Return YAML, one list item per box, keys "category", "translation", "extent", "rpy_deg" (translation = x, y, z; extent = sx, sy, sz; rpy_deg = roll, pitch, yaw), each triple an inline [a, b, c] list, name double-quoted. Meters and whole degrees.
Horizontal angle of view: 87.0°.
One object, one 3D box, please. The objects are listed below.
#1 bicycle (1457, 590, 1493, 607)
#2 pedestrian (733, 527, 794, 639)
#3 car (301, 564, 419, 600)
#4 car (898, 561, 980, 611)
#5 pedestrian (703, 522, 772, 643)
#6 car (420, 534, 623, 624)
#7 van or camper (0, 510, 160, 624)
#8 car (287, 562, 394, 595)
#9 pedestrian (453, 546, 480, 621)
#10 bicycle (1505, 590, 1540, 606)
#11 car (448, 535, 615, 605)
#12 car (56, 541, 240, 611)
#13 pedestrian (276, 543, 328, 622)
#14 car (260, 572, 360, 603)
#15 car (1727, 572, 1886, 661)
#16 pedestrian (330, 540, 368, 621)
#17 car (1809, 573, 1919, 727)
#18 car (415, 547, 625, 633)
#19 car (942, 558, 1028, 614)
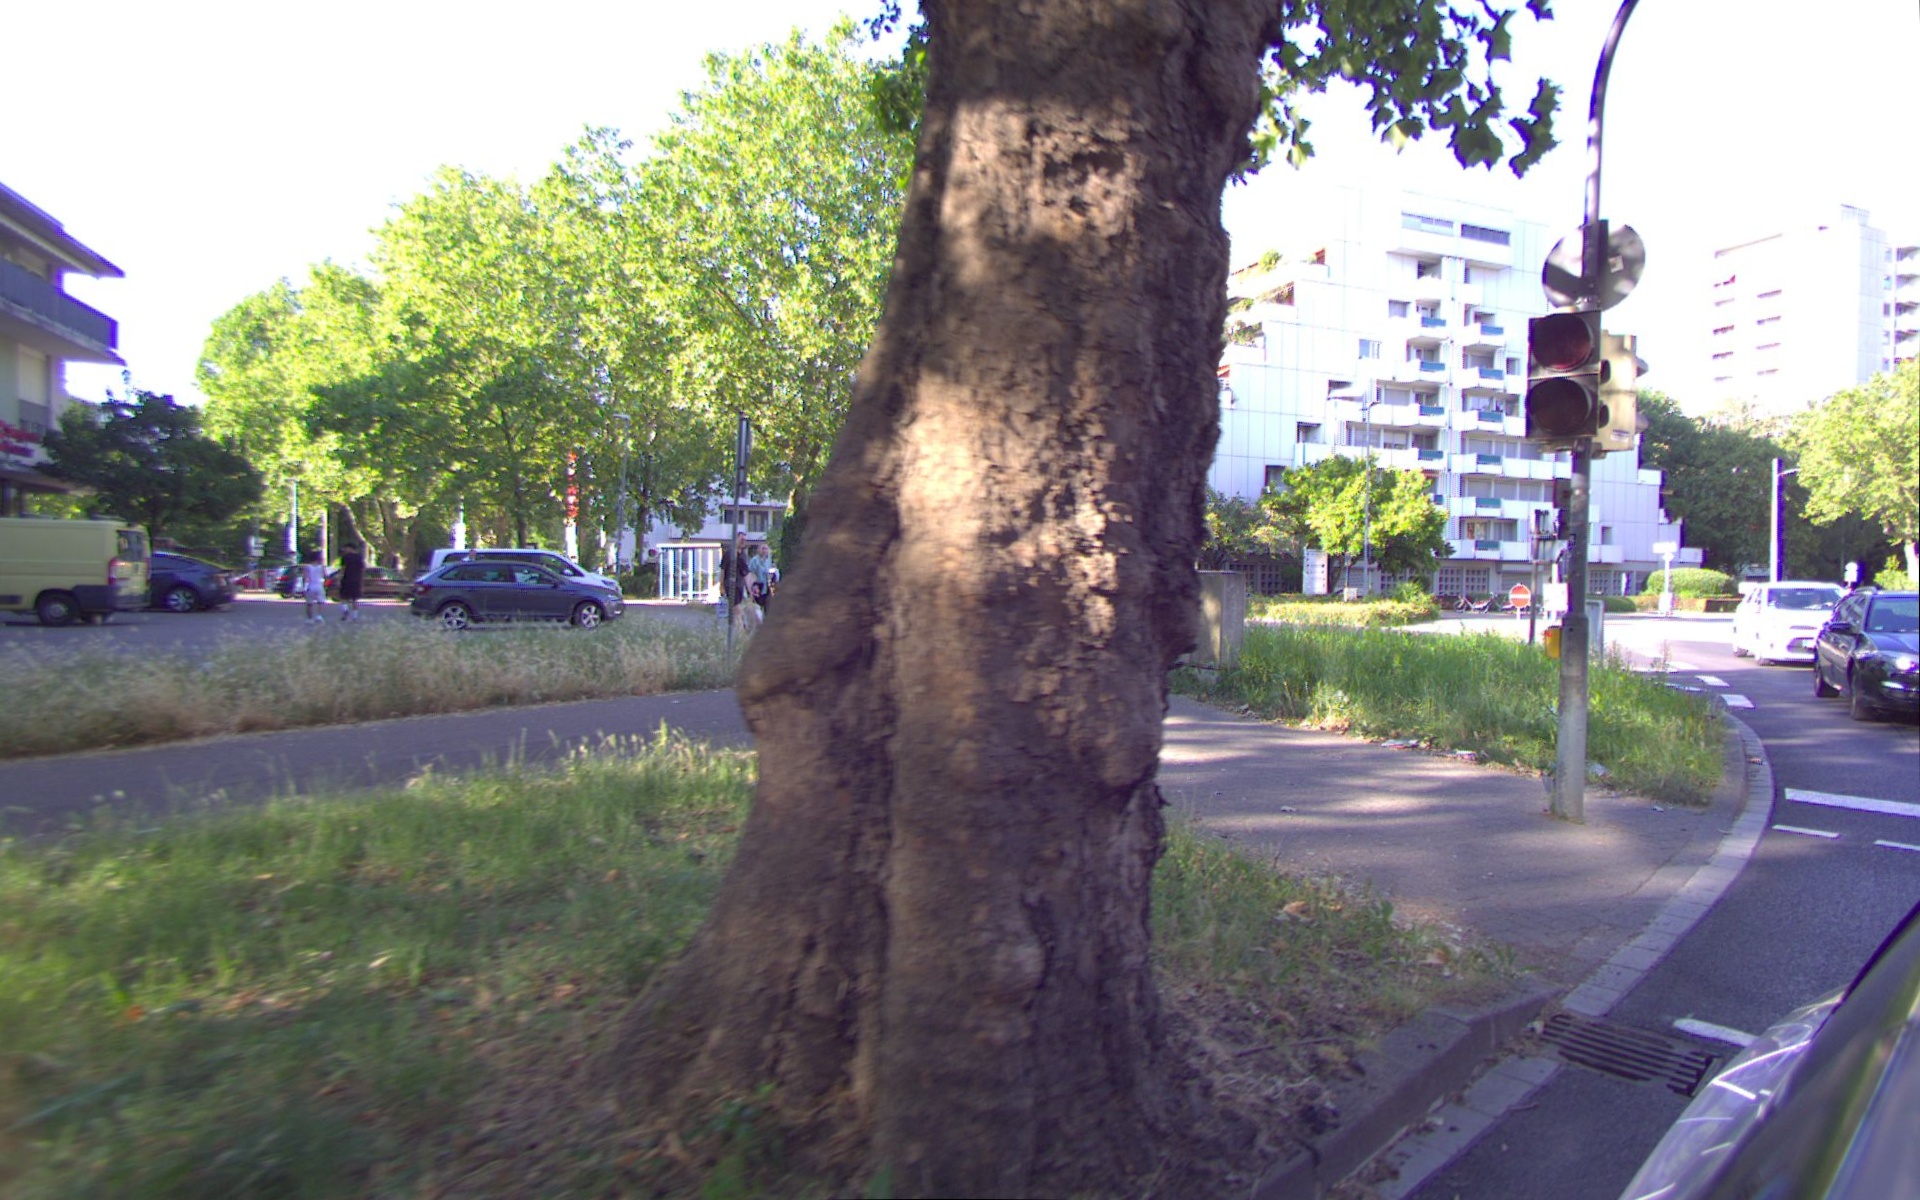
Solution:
- category: "bicycle"
  translation: [27.238, -0.078, 53.513]
  extent: [1.666, 0.848, 0.465]
  rpy_deg: [1, 1, -5]
- category: "pedestrian"
  translation: [-3.433, -0.302, 17.721]
  extent: [0.774, 1.903, 0.799]
  rpy_deg: [1, 1, 16]
- category: "car"
  translation: [-25.300, -0.761, 42.748]
  extent: [1.861, 1.442, 3.926]
  rpy_deg: [2, 2, 43]
- category: "car"
  translation: [-0.697, -0.474, 37.063]
  extent: [1.802, 1.607, 4.349]
  rpy_deg: [4, 0, 15]
- category: "pedestrian"
  translation: [-3.709, -0.303, 16.876]
  extent: [0.828, 1.956, 0.777]
  rpy_deg: [1, 1, 19]
- category: "car"
  translation: [-12.234, -0.545, 28.460]
  extent: [4.946, 2.123, 2.005]
  rpy_deg: [4, 0, -24]
- category: "van or camper"
  translation: [-20.313, -0.701, 21.104]
  extent: [5.257, 2.275, 2.270]
  rpy_deg: [0, 1, -22]
- category: "car"
  translation: [-28.951, -1.003, 47.369]
  extent: [1.861, 1.484, 3.926]
  rpy_deg: [2, 2, 43]
- category: "pedestrian"
  translation: [-11.926, -0.404, 24.449]
  extent: [0.521, 1.773, 0.561]
  rpy_deg: [-1, 1, -29]
- category: "bicycle"
  translation: [29.568, -0.101, 53.181]
  extent: [1.561, 0.794, 0.460]
  rpy_deg: [2, 2, 28]
- category: "car"
  translation: [-13.227, -0.899, 31.414]
  extent: [4.536, 1.798, 2.005]
  rpy_deg: [4, 0, -24]
- category: "car"
  translation: [-22.313, -0.647, 27.985]
  extent: [3.601, 1.654, 1.581]
  rpy_deg: [4, 0, -24]
- category: "pedestrian"
  translation: [-14.649, -0.396, 22.536]
  extent: [0.932, 1.719, 0.883]
  rpy_deg: [0, 1, -36]
- category: "car"
  translation: [-32.617, -0.634, 50.859]
  extent: [1.861, 1.484, 3.926]
  rpy_deg: [2, 2, 43]
- category: "car"
  translation: [15.593, 0.248, 18.594]
  extent: [3.472, 1.471, 1.653]
  rpy_deg: [0, 2, -40]
- category: "pedestrian"
  translation: [-14.240, -0.462, 23.582]
  extent: [0.673, 1.832, 0.964]
  rpy_deg: [0, 1, -35]
- category: "car"
  translation: [11.467, 0.491, 11.812]
  extent: [1.832, 1.565, 4.470]
  rpy_deg: [0, 0, 33]
- category: "car"
  translation: [-9.375, -0.198, 21.607]
  extent: [3.905, 1.542, 1.678]
  rpy_deg: [4, 0, -29]
- category: "car"
  translation: [0.927, -0.419, 34.583]
  extent: [1.911, 1.680, 4.456]
  rpy_deg: [4, 0, 15]
